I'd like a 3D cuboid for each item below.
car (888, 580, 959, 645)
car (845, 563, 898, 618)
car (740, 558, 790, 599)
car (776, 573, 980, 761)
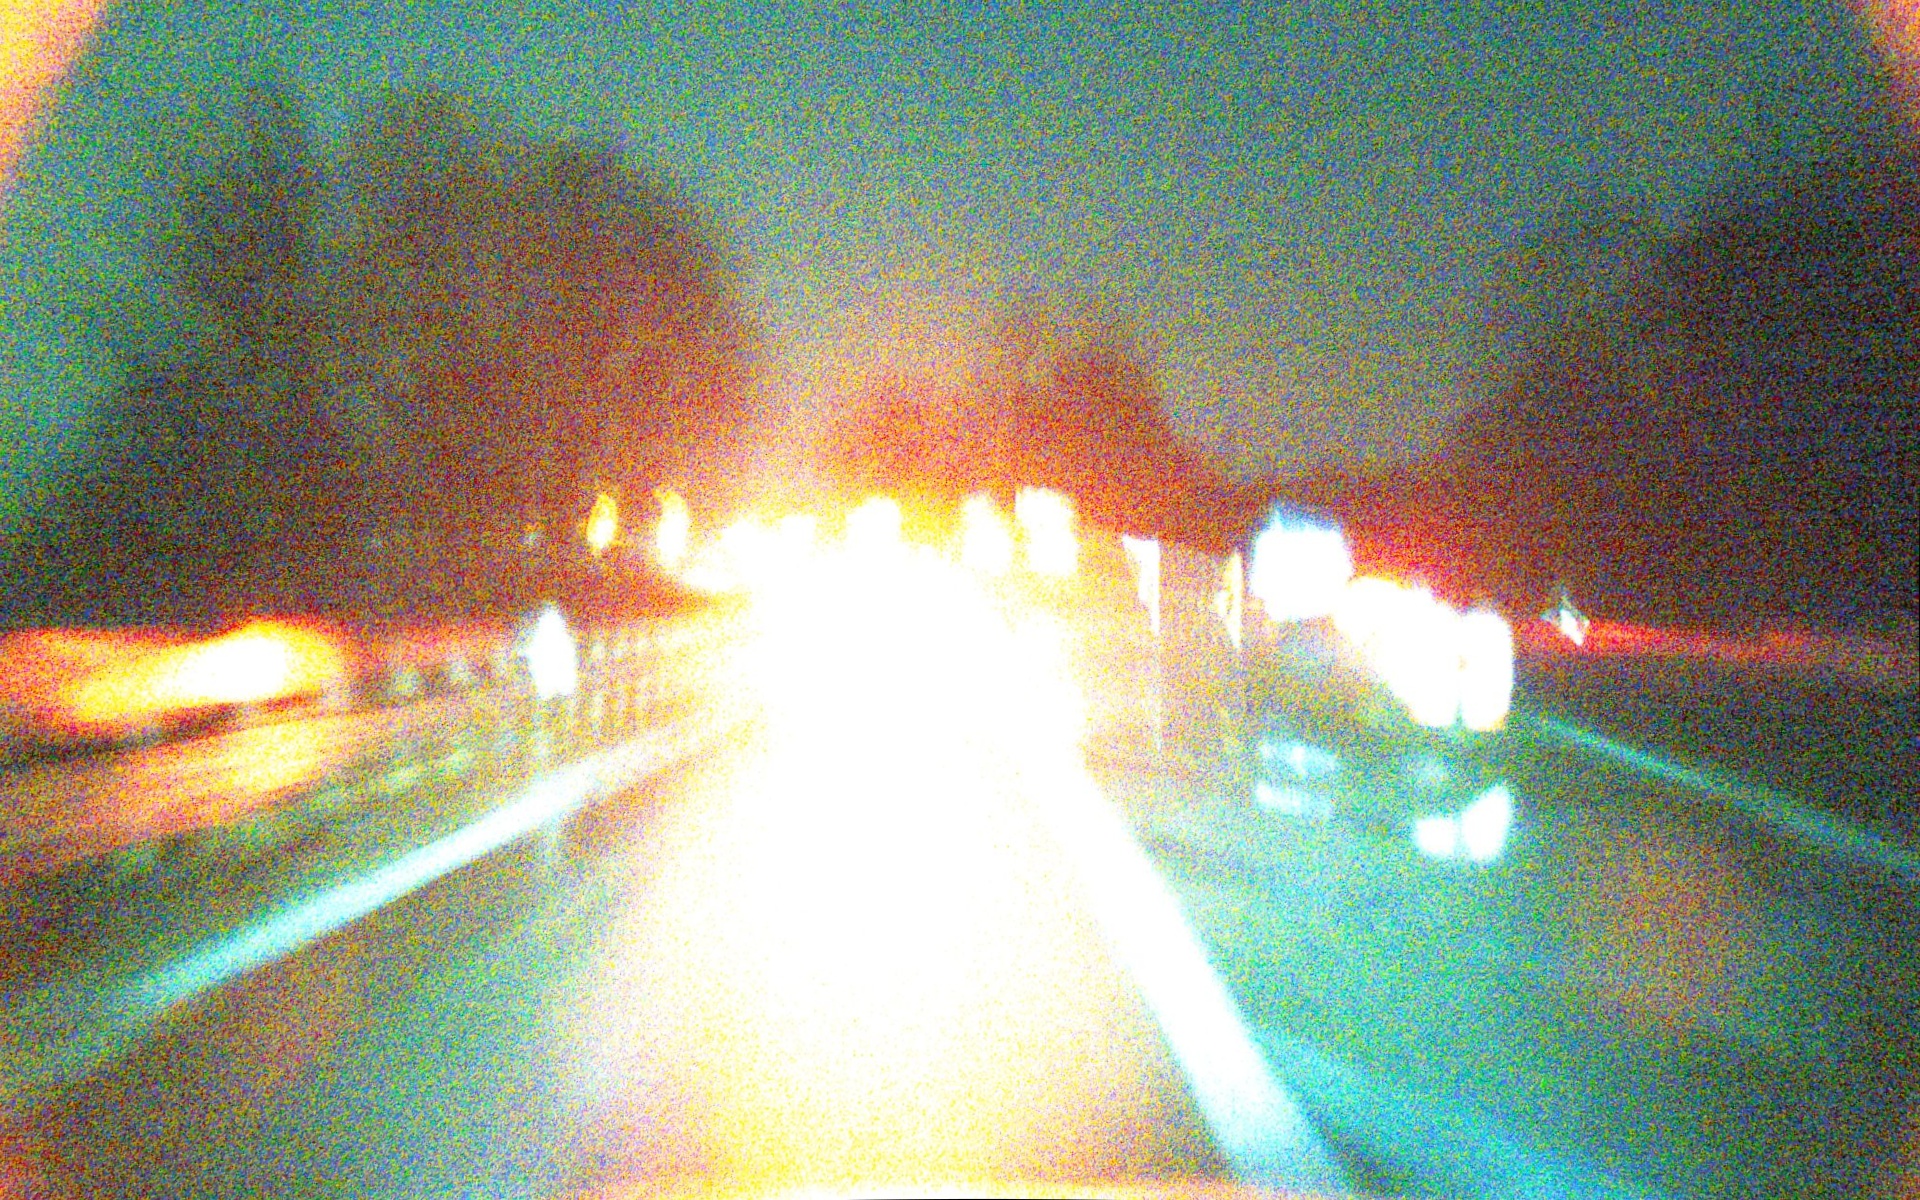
[{"bbox_3d":[-1.084,0.347,47.246,1.858,1.751,4.042,0,0,-4],"label":"car"},{"bbox_3d":[-3.452,-0.350,64.113,1.858,2.076,4.041,0,0,-6],"label":"car"},{"bbox_3d":[-9.891,-1.062,83.617,1.865,2.033,4.027,0,0,-17],"label":"car"},{"bbox_3d":[-0.817,0.594,16.954,1.823,1.676,4.067,0,0,-2],"label":"car"}]
